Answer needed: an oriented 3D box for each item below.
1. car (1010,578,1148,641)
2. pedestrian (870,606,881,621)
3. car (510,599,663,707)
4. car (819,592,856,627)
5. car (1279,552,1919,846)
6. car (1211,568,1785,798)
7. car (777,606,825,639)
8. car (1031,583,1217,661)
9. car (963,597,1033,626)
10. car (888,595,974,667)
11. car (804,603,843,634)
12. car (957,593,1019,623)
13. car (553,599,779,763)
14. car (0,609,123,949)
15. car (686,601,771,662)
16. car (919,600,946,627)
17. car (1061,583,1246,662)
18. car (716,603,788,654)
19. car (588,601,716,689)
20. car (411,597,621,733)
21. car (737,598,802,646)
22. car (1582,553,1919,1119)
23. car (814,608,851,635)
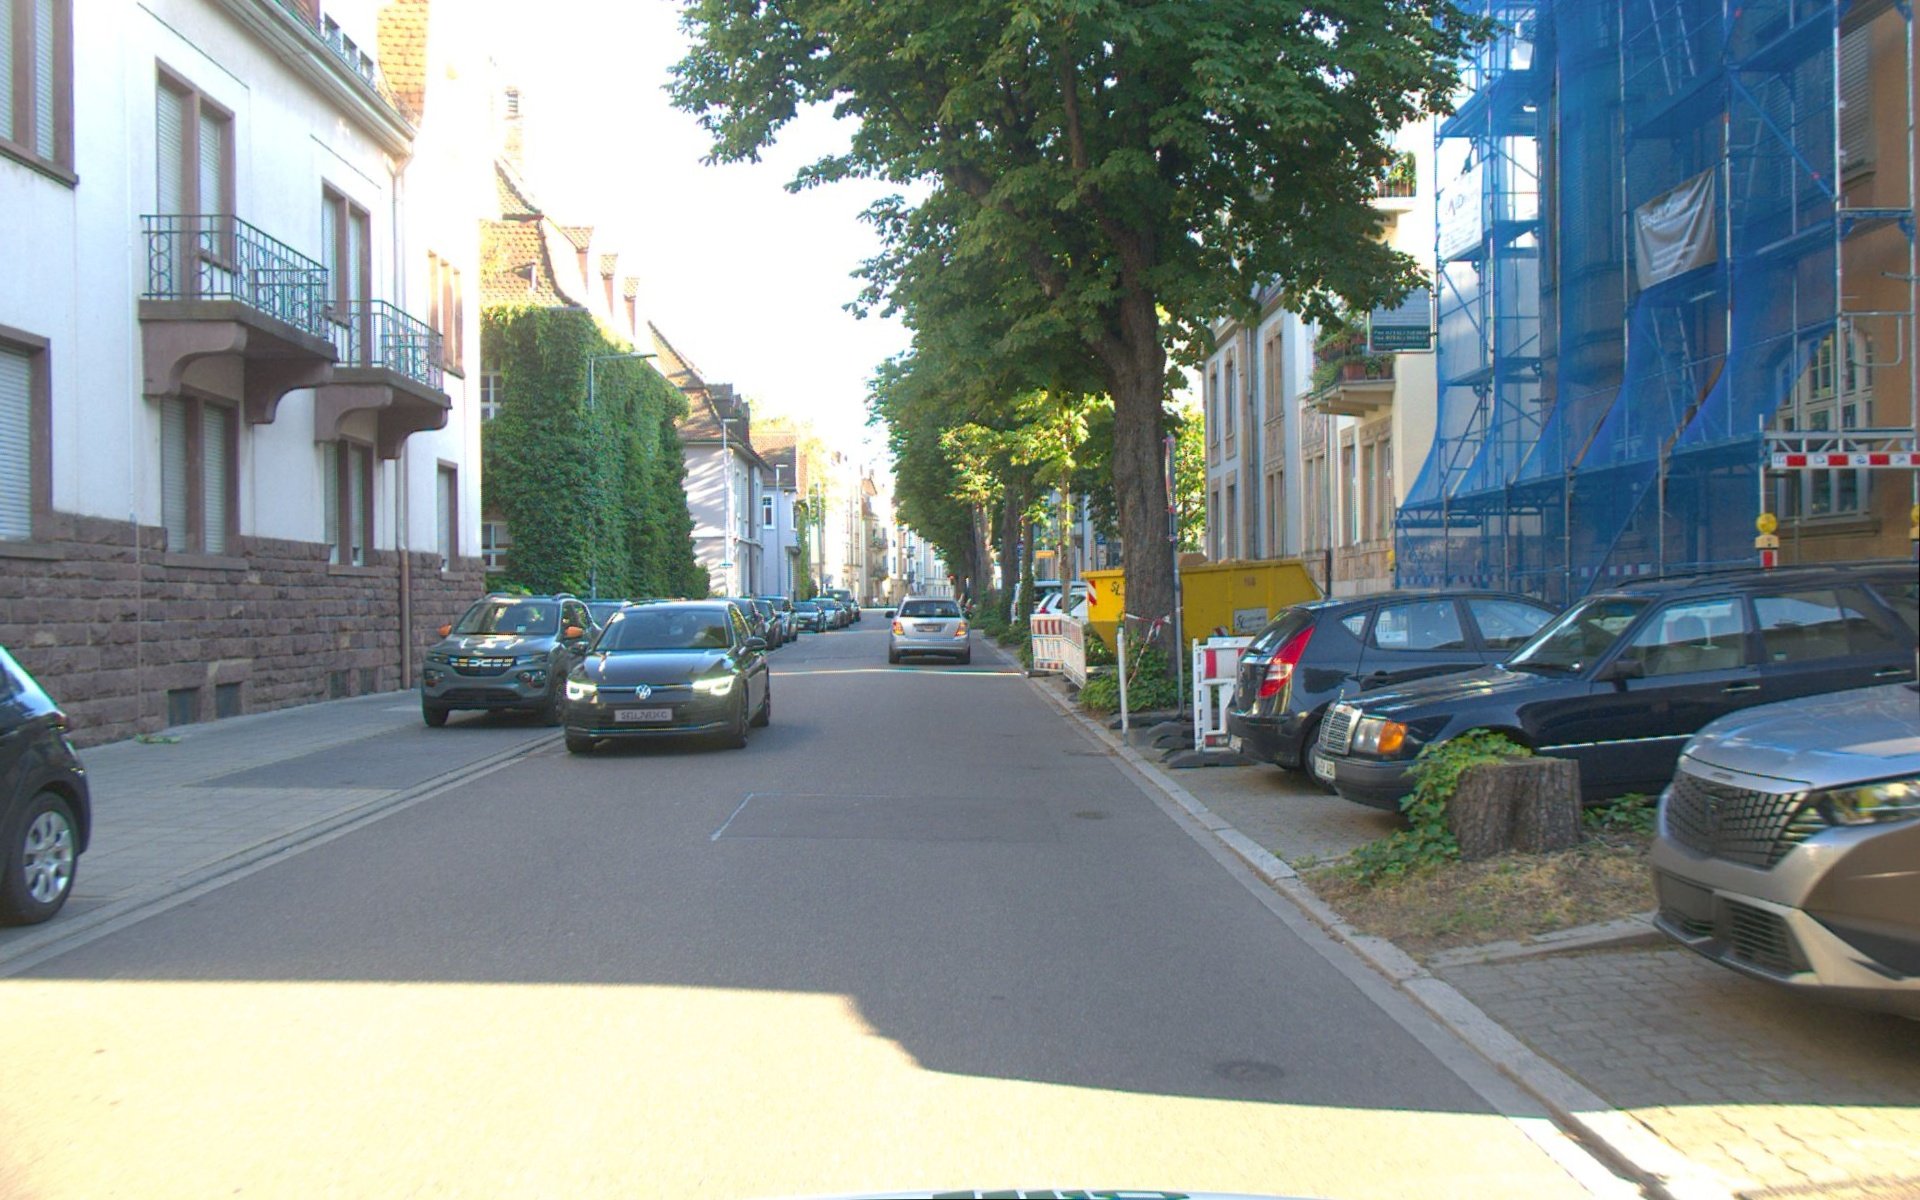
[{"bbox_3d":[3.843,0.291,53.819,4.227,1.838,1.999,-2,0,-2],"label":"car"},{"bbox_3d":[-10.143,1.607,197.798,1.195,1.752,1.503,0,0,2],"label":"pedestrian"},{"bbox_3d":[-5.482,0.735,24.661,1.621,1.472,3.841,0,0,-4],"label":"car"},{"bbox_3d":[-7.165,0.563,96.971,1.942,1.982,4.849,0,0,-2],"label":"car"},{"bbox_3d":[4.575,0.549,10.647,4.623,1.562,1.850,-3,0,-2],"label":"car"},{"bbox_3d":[4.106,0.613,13.117,3.905,1.518,1.851,-3,0,0],"label":"car"},{"bbox_3d":[-6.866,0.961,71.558,1.619,1.347,4.045,0,-1,1],"label":"car"},{"bbox_3d":[3.697,0.481,37.758,4.059,1.561,1.687,-2,0,0],"label":"car"},{"bbox_3d":[2.266,0.706,98.399,4.104,1.501,1.852,-3,-1,1],"label":"car"},{"bbox_3d":[-0.616,0.668,35.882,1.747,1.462,3.850,0,-1,-1],"label":"car"},{"bbox_3d":[-6.620,0.892,80.649,1.620,1.471,3.959,0,0,-1],"label":"car"},{"bbox_3d":[1.936,0.556,114.988,4.136,1.929,1.904,-2,0,-4],"label":"car"},{"bbox_3d":[-2.965,0.750,17.461,1.736,1.474,3.999,-1,0,-2],"label":"car"},{"bbox_3d":[-4.976,0.779,6.271,1.620,1.472,4.004,0,0,-1],"label":"car"},{"bbox_3d":[-5.768,0.762,41.532,1.616,1.445,4.097,0,0,-1],"label":"car"},{"bbox_3d":[-1.678,0.793,100.303,1.590,1.597,3.679,-1,0,-1],"label":"car"},{"bbox_3d":[4.078,0.467,35.293,3.771,1.488,1.687,-2,0,3],"label":"car"},{"bbox_3d":[-5.924,0.787,47.517,1.652,1.404,3.720,0,0,-1],"label":"car"},{"bbox_3d":[-5.603,0.775,30.603,1.757,1.487,4.774,0,0,-4],"label":"car"},{"bbox_3d":[-5.340,0.725,20.351,1.620,1.512,3.763,0,0,-1],"label":"car"},{"bbox_3d":[-6.209,0.697,54.188,1.669,1.486,3.917,0,0,0],"label":"car"},{"bbox_3d":[4.511,0.569,5.592,4.072,1.566,1.850,-3,0,-2],"label":"car"},{"bbox_3d":[-6.563,1.103,85.599,1.499,1.342,4.227,0,-1,1],"label":"car"}]
